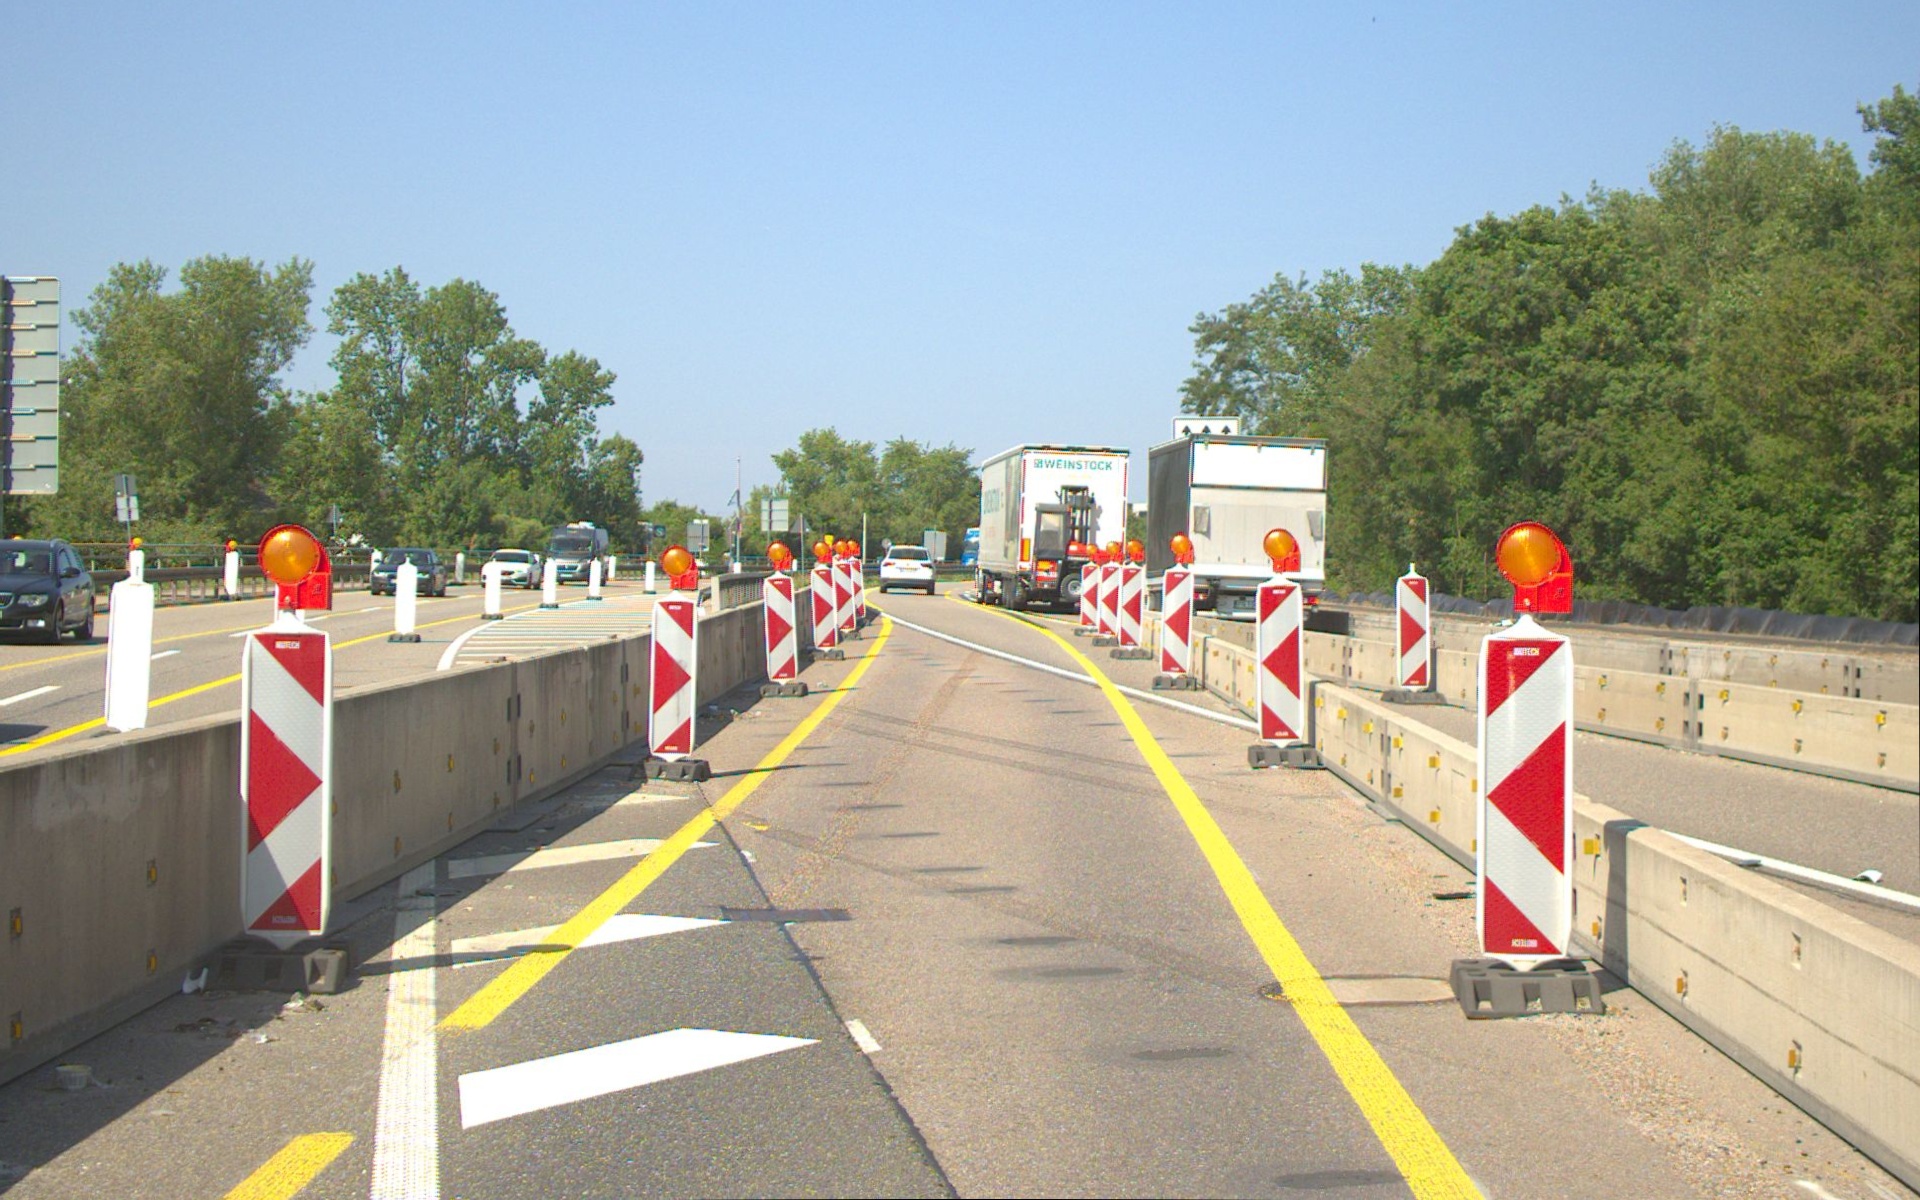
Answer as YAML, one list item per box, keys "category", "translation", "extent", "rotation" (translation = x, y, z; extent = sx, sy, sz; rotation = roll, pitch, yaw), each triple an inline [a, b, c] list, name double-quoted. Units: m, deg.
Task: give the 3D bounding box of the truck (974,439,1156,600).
- category: "truck"
  translation: [2.483, -1.948, 84.158]
  extent: [3.388, 3.761, 7.235]
  rotation: [0, 1, -7]

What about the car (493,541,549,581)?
- category: "car"
  translation: [-16.209, -1.443, 127.218]
  extent: [1.719, 1.392, 4.520]
  rotation: [2, 1, -3]

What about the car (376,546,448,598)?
- category: "car"
  translation: [-16.188, -0.850, 101.658]
  extent: [1.737, 1.471, 4.646]
  rotation: [0, 1, -5]

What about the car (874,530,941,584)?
- category: "car"
  translation: [-1.781, -1.436, 114.585]
  extent: [1.816, 1.770, 4.001]
  rotation: [0, 1, -7]

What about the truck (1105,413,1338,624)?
- category: "truck"
  translation: [4.433, -1.410, 59.875]
  extent: [2.634, 3.416, 7.235]
  rotation: [1, 1, -7]

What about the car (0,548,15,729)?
- category: "car"
  translation: [-8.067, 0.316, 24.418]
  extent: [1.689, 1.371, 4.273]
  rotation: [0, 1, -2]

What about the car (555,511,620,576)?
- category: "car"
  translation: [-15.730, -2.376, 145.535]
  extent: [2.146, 2.651, 5.546]
  rotation: [1, 1, 0]

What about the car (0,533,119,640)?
- category: "car"
  translation: [-13.265, -0.228, 49.039]
  extent: [1.667, 1.437, 4.998]
  rotation: [1, 1, -5]
